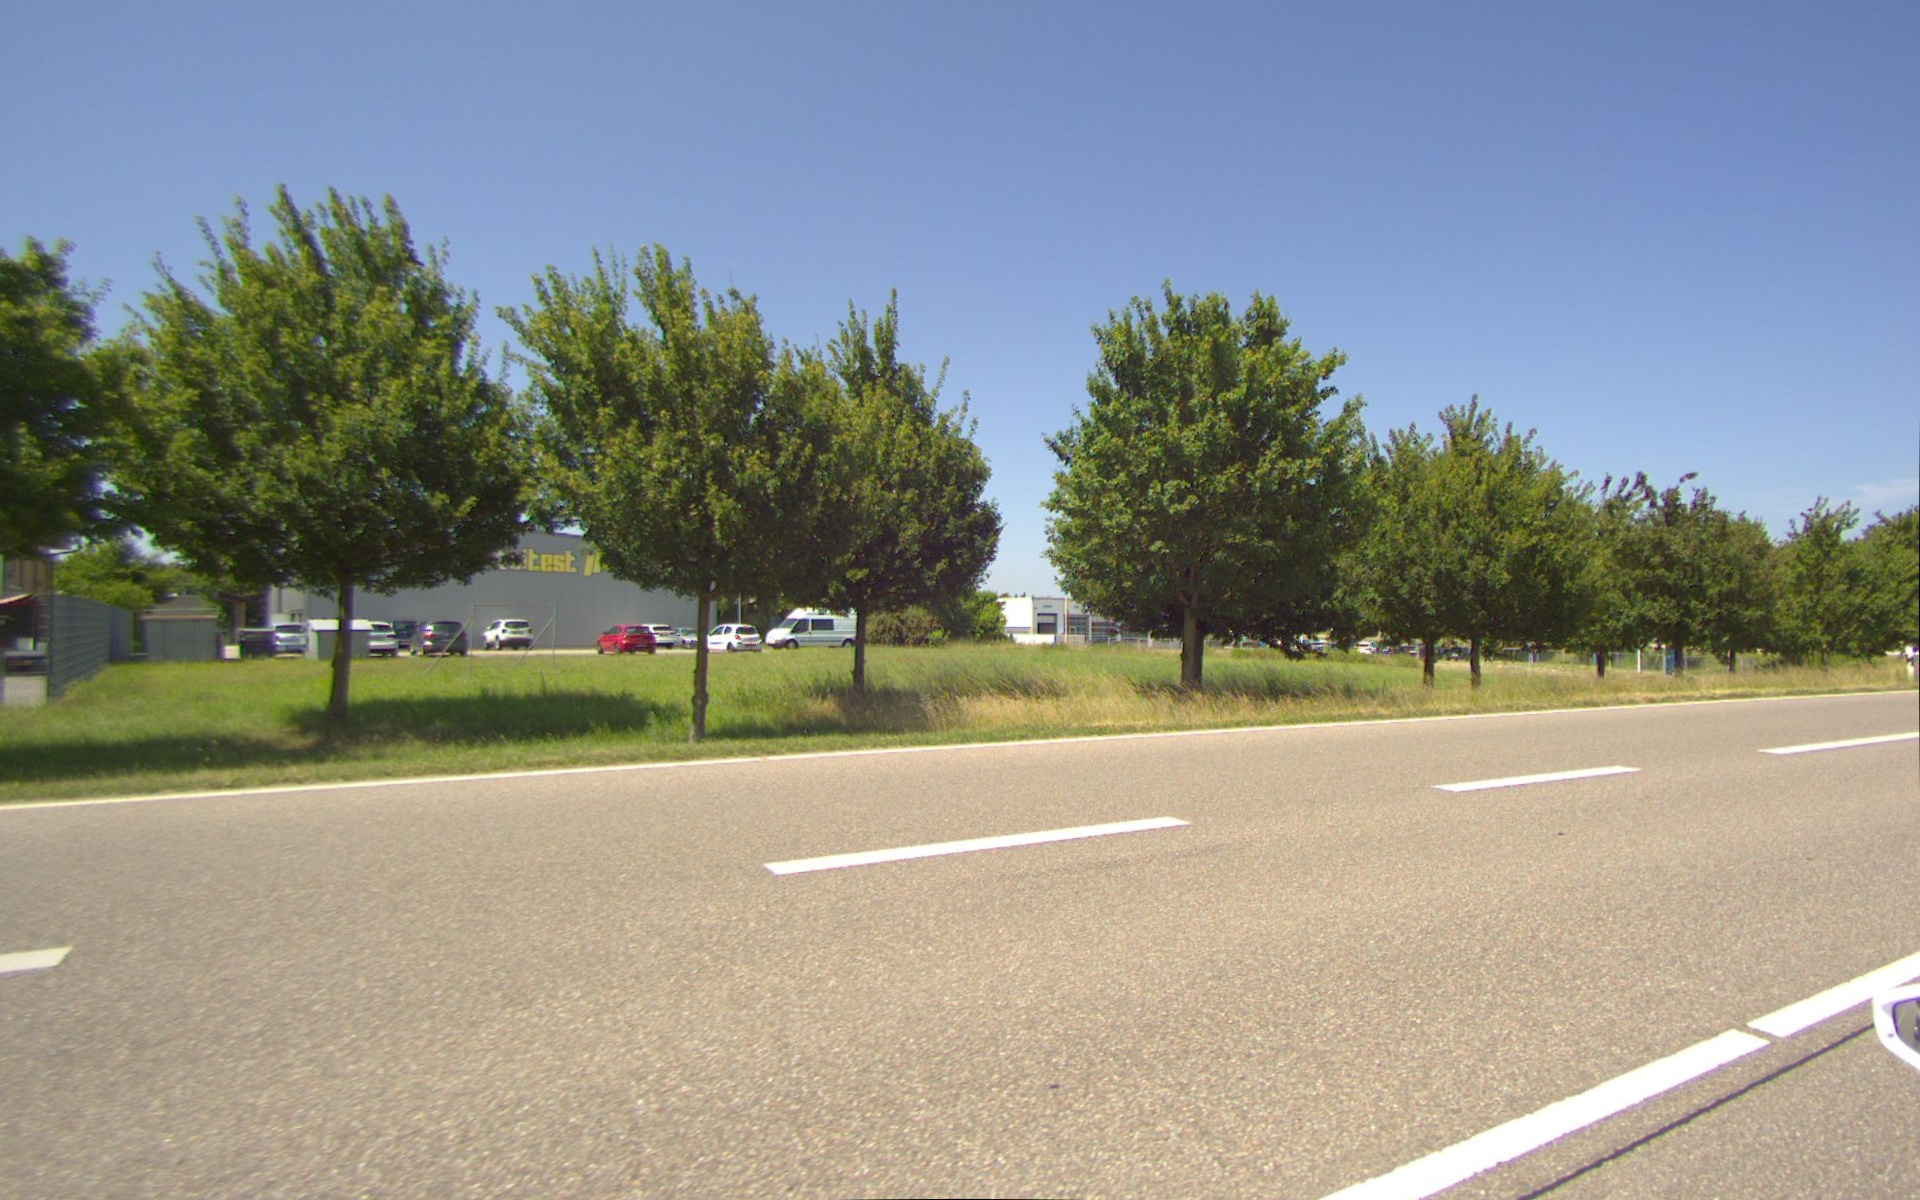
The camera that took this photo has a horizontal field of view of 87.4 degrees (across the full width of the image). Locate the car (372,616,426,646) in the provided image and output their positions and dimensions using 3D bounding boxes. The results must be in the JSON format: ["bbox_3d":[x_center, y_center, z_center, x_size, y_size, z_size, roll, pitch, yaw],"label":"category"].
[{"bbox_3d":[-28.899,1.607,51.684,1.842,1.439,3.588,2,-1,-39],"label":"car"}]

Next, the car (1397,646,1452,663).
[{"bbox_3d":[40.421,4.721,87.451,3.923,1.412,1.999,1,-2,-3],"label":"car"}]

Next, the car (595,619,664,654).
[{"bbox_3d":[-15.540,1.699,47.129,1.911,1.528,3.958,2,-1,-37],"label":"car"}]

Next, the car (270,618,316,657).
[{"bbox_3d":[-26.457,1.483,39.812,1.221,1.439,3.034,2,-1,-39],"label":"car"}]

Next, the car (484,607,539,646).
[{"bbox_3d":[-24.542,1.442,54.937,1.981,2.040,3.960,2,-1,-35],"label":"car"}]

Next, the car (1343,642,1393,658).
[{"bbox_3d":[38.139,4.706,93.966,3.923,1.412,1.999,1,-2,-3],"label":"car"}]

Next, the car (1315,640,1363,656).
[{"bbox_3d":[36.845,4.690,97.792,3.923,1.412,1.999,1,-2,-3],"label":"car"}]

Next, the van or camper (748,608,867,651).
[{"bbox_3d":[-8.868,1.736,58.806,6.475,2.394,2.446,2,-1,-36],"label":"van or camper"}]

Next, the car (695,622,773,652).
[{"bbox_3d":[-11.422,1.870,50.681,3.944,1.372,1.989,0,-2,43],"label":"car"}]

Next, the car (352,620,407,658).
[{"bbox_3d":[-23.962,1.595,41.391,1.421,1.439,3.572,2,-1,-39],"label":"car"}]

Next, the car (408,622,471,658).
[{"bbox_3d":[-22.122,1.675,42.644,1.723,1.439,3.572,2,-1,-39],"label":"car"}]

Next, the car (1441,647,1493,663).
[{"bbox_3d":[48.442,5.280,96.015,3.923,1.412,1.999,1,-2,-3],"label":"car"}]

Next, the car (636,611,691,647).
[{"bbox_3d":[-17.919,1.740,60.560,1.981,2.040,3.960,2,-1,-35],"label":"car"}]

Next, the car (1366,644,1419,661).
[{"bbox_3d":[39.092,4.716,90.849,3.923,1.412,1.999,1,-2,-3],"label":"car"}]
